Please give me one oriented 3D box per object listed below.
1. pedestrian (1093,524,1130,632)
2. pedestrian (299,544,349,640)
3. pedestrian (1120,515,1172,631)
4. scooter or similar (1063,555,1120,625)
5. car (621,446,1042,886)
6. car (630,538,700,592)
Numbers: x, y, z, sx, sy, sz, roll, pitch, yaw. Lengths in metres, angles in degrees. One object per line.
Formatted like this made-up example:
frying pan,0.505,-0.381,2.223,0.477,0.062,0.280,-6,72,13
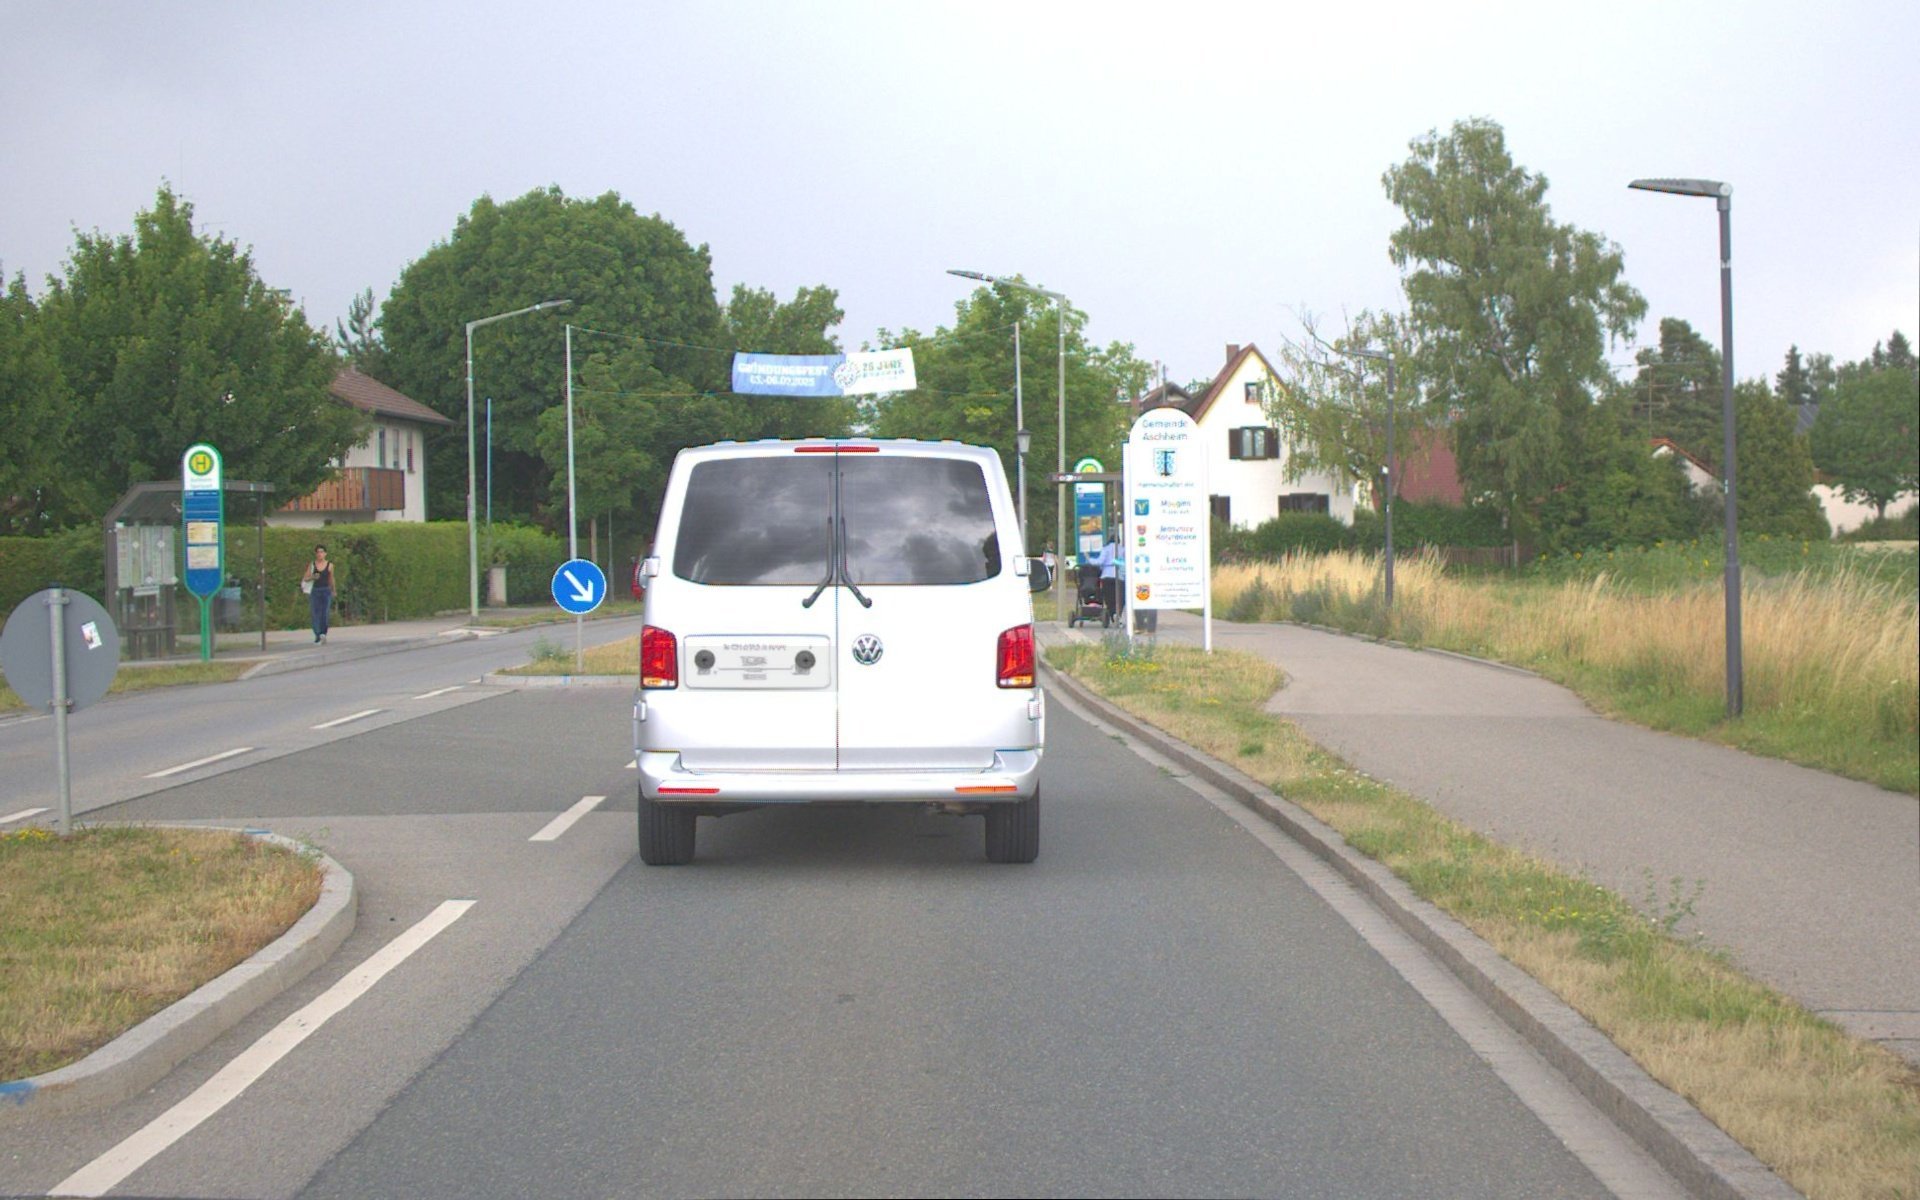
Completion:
pedestrian,2.477,-0.364,56.373,0.485,1.726,0.642,-3,1,-1
pedestrian,-10.383,-0.131,56.114,0.623,1.519,0.680,-3,1,-1
pedestrian,2.820,-0.413,52.164,0.640,1.726,0.486,-2,1,11
scooter or similar,2.188,-0.172,57.257,0.848,1.100,1.094,-3,1,0
car,-0.628,0.241,16.935,1.825,1.907,4.001,0,1,-2
car,-8.420,-1.009,98.315,1.653,1.424,3.602,-3,1,-1
